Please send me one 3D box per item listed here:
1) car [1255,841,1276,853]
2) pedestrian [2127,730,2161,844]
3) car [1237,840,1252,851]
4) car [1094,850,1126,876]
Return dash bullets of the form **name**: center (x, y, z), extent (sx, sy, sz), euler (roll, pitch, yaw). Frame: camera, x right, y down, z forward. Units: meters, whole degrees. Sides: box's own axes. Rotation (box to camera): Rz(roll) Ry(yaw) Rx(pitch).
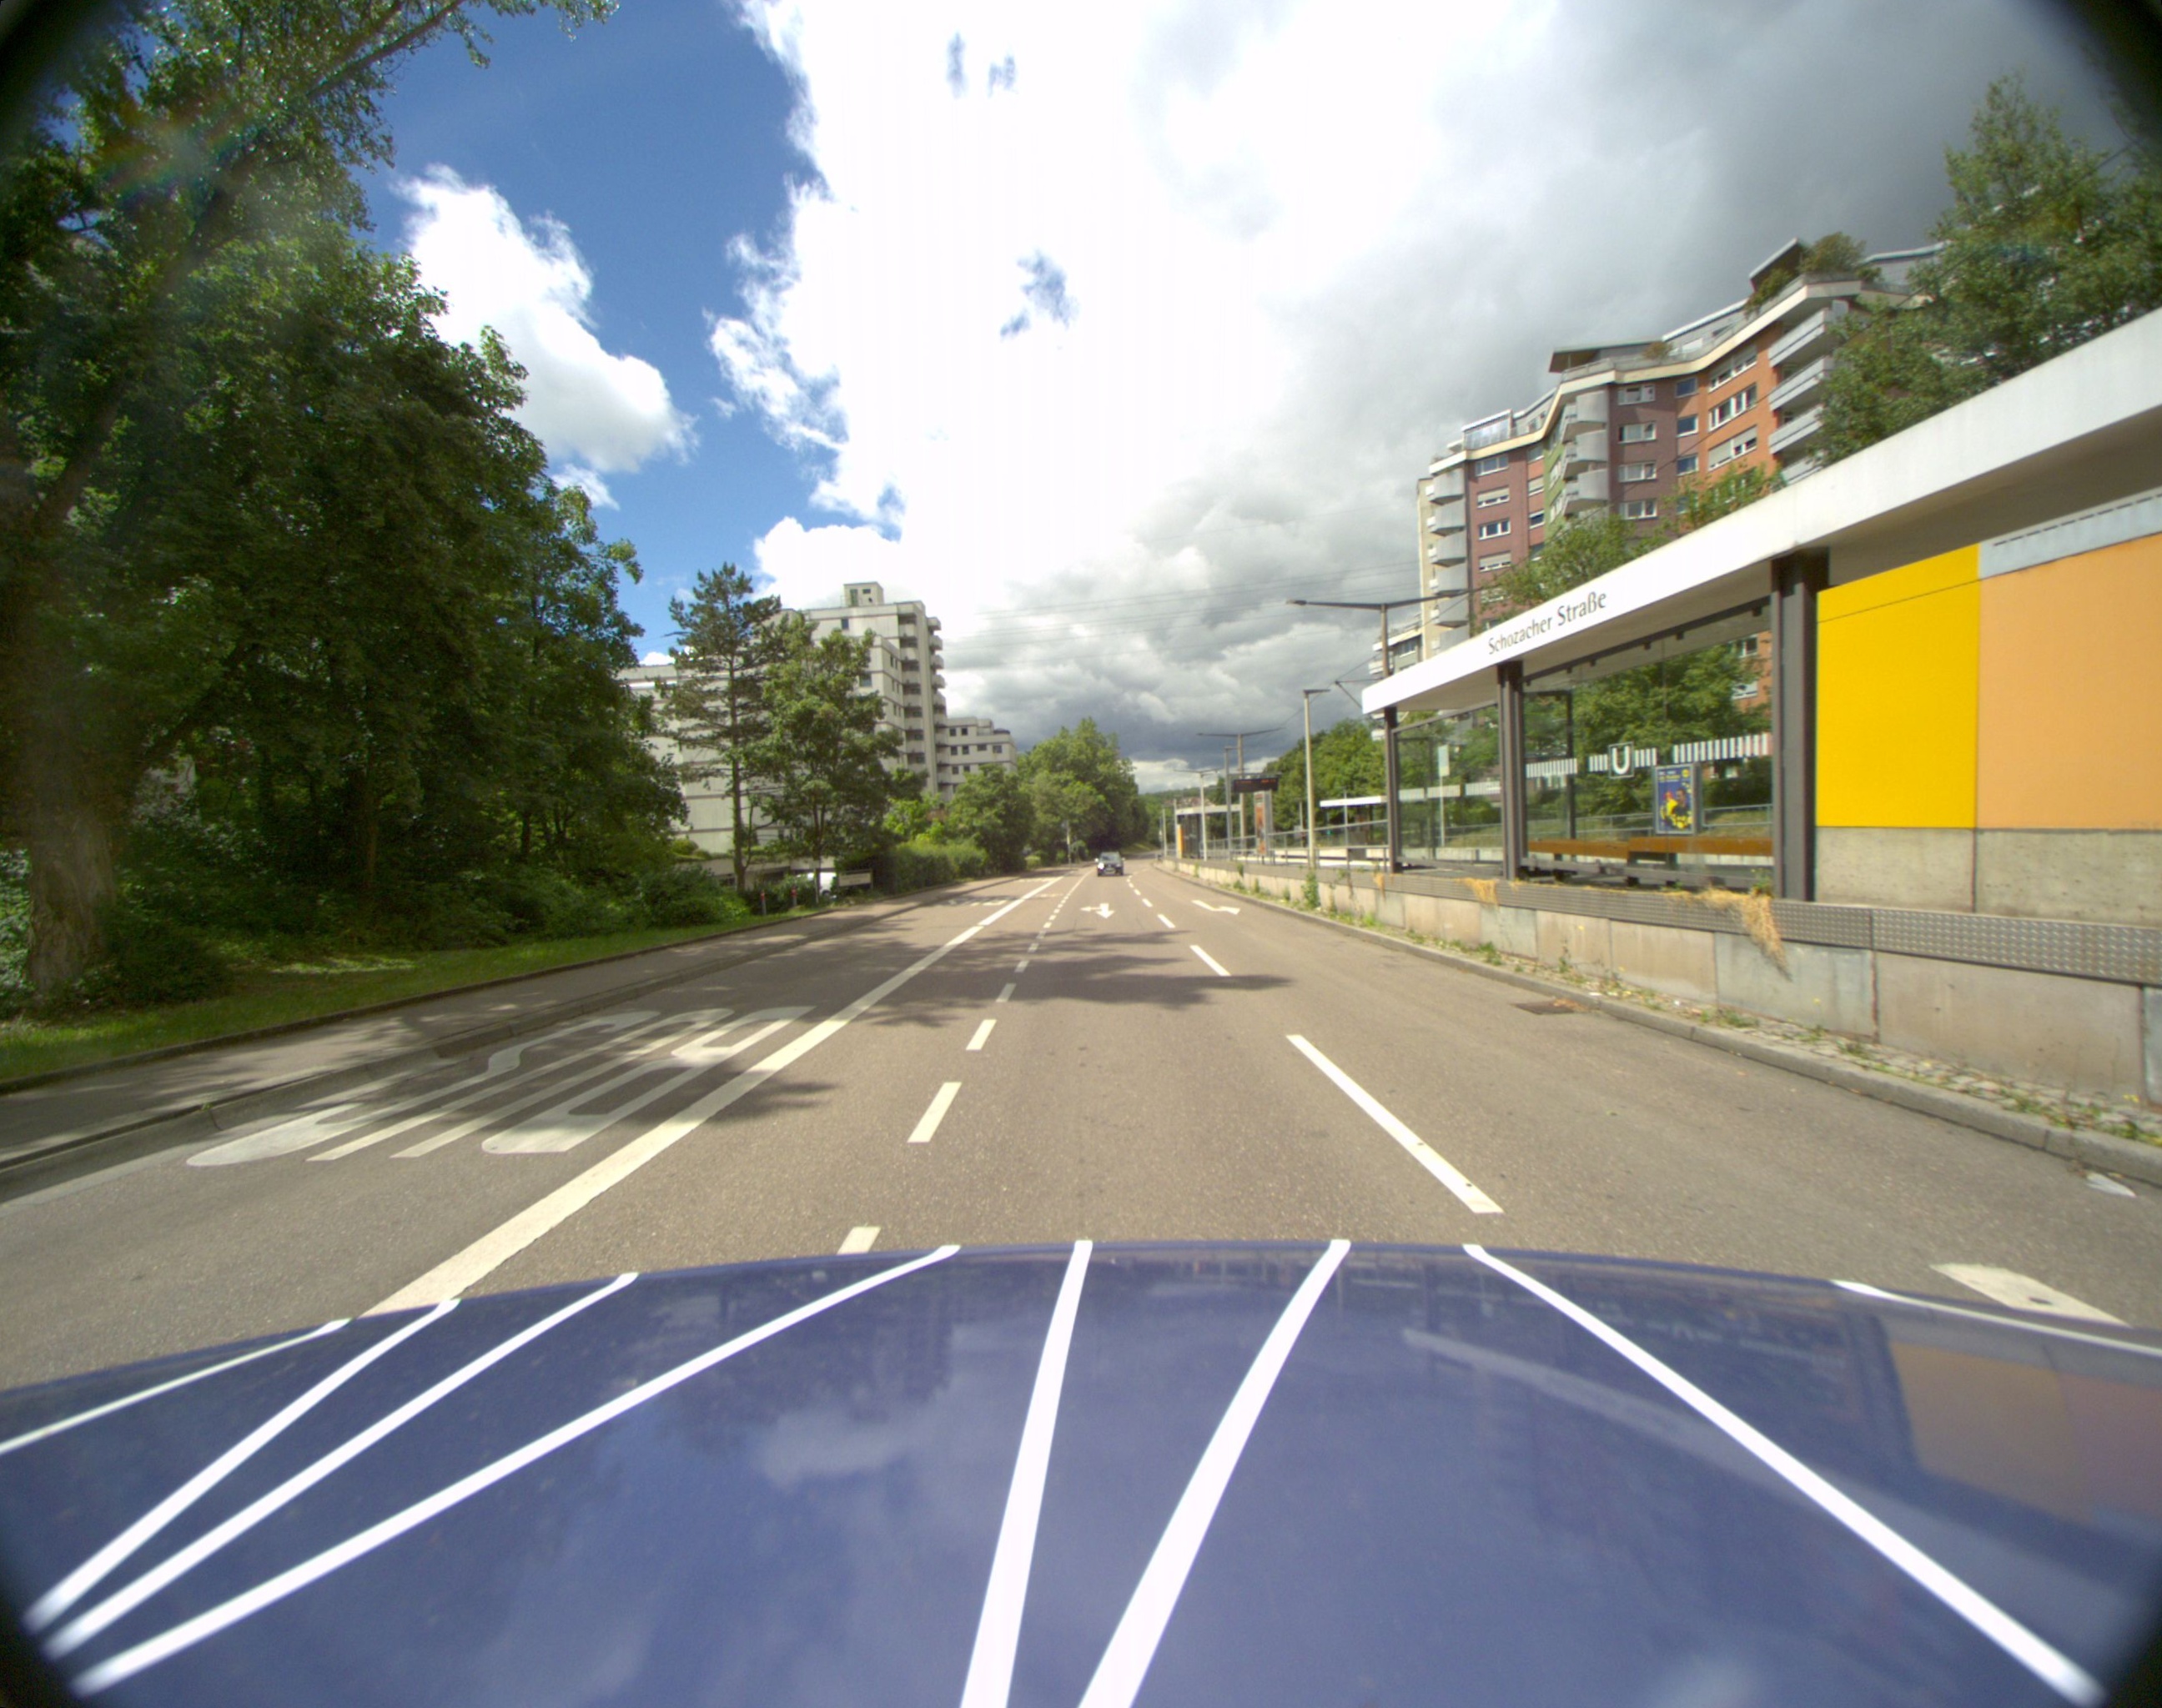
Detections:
- **car**: center (23.312, -0.927, 96.109), extent (1.658, 1.410, 4.000), euler (-2, 1, 1)
- **pedestrian**: center (15.808, -0.978, 11.114), extent (0.522, 1.635, 0.563), euler (-3, 1, -31)
- **car**: center (24.252, -1.219, 112.796), extent (1.658, 1.504, 3.738), euler (-2, 1, 5)
- **car**: center (1.866, 0.510, 47.883), extent (1.736, 1.477, 3.817), euler (-2, 1, 5)
